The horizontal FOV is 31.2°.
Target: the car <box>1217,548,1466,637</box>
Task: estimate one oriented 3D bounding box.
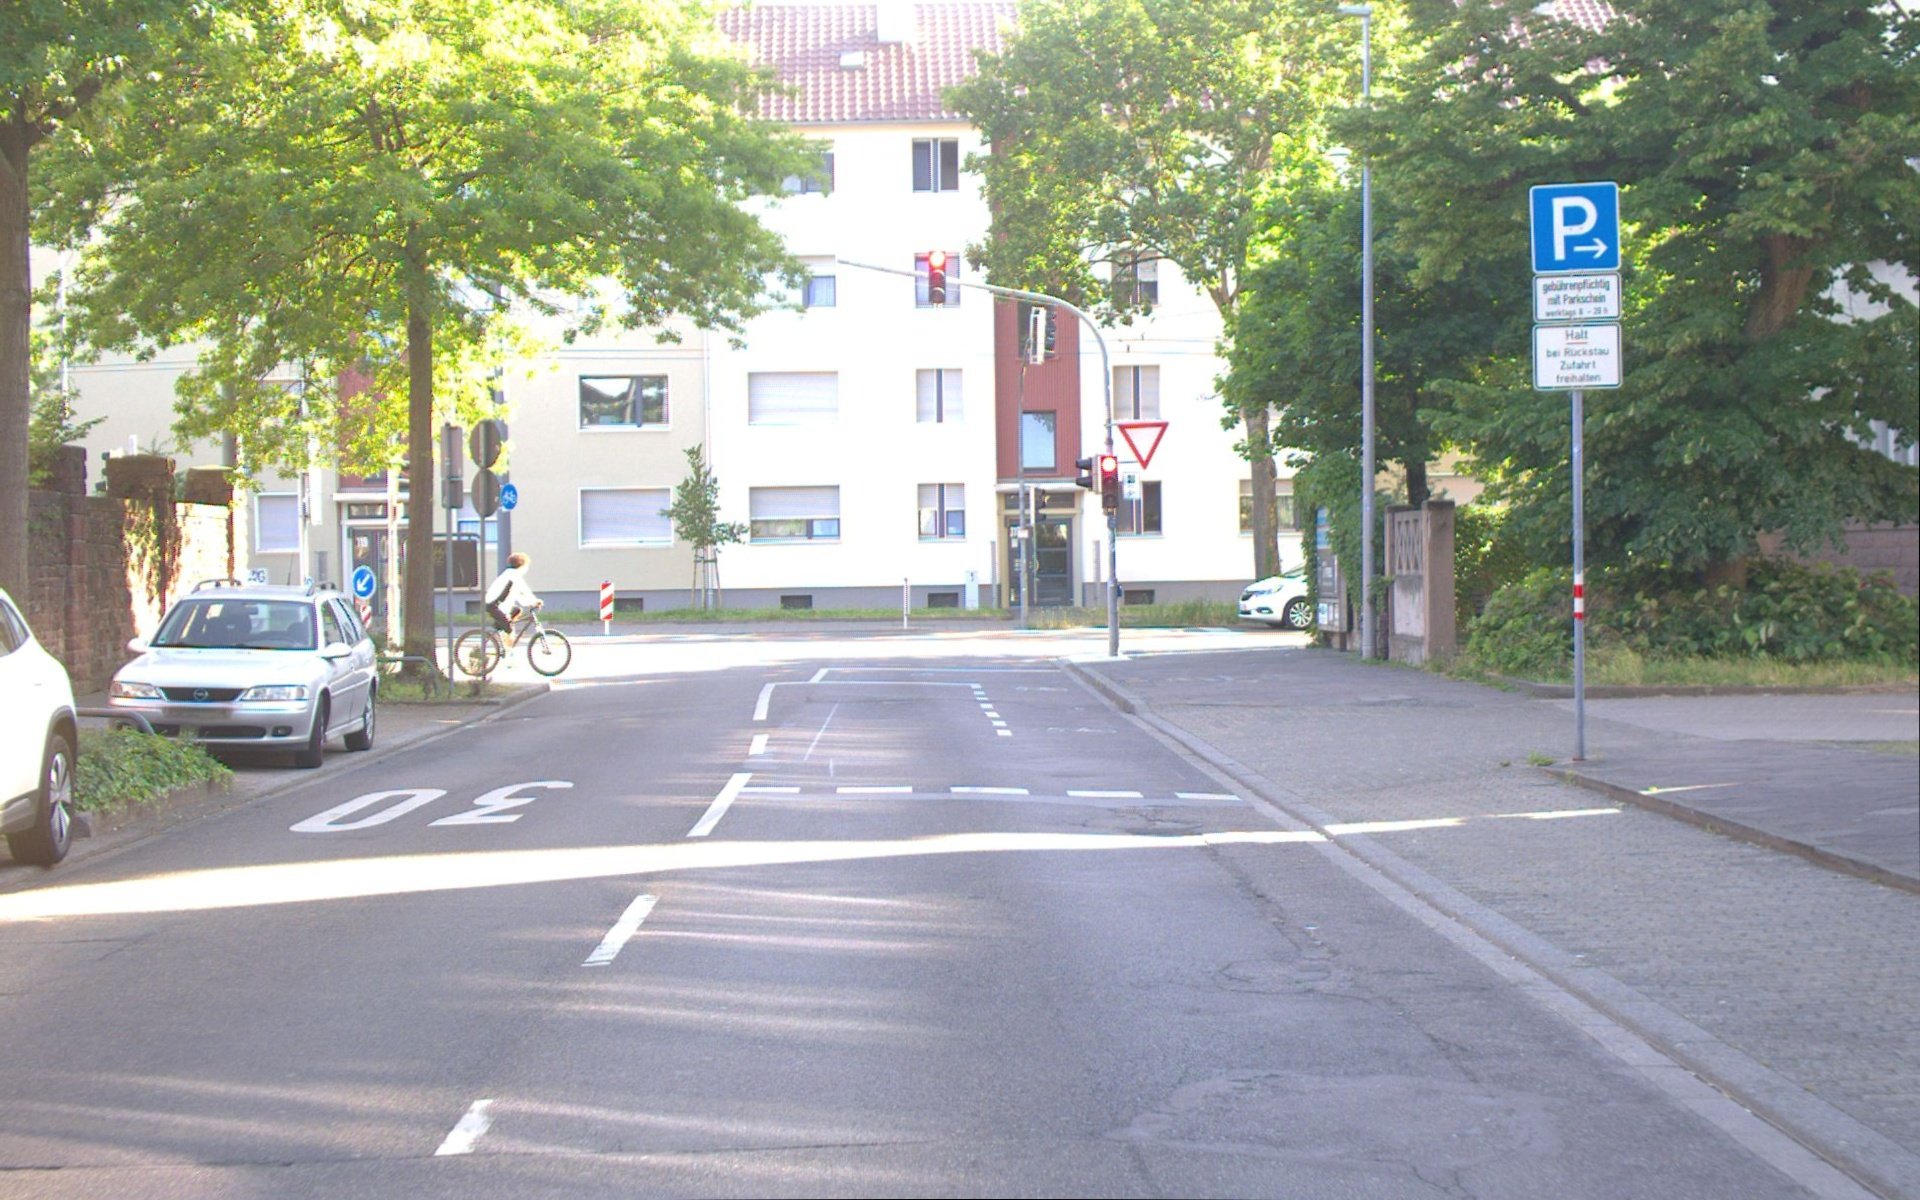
[{"bbox_3d":[7.790,-0.171,70.330,4.660,1.733,2.001,-1,1,-13],"label":"car"}]

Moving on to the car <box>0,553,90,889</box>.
[{"bbox_3d":[-5.663,0.616,17.082,1.720,1.678,4.351,-1,1,-2],"label":"car"}]

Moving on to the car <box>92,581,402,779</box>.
[{"bbox_3d":[-5.863,0.605,28.761,1.726,1.470,4.478,1,1,-1],"label":"car"}]

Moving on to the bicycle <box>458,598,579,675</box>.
[{"bbox_3d":[-6.294,0.521,49.011,1.683,1.076,0.351,0,1,-3],"label":"bicycle"}]

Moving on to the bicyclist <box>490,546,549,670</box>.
[{"bbox_3d":[-6.288,0.114,49.069,0.786,1.751,0.612,0,1,-3],"label":"bicyclist"}]
